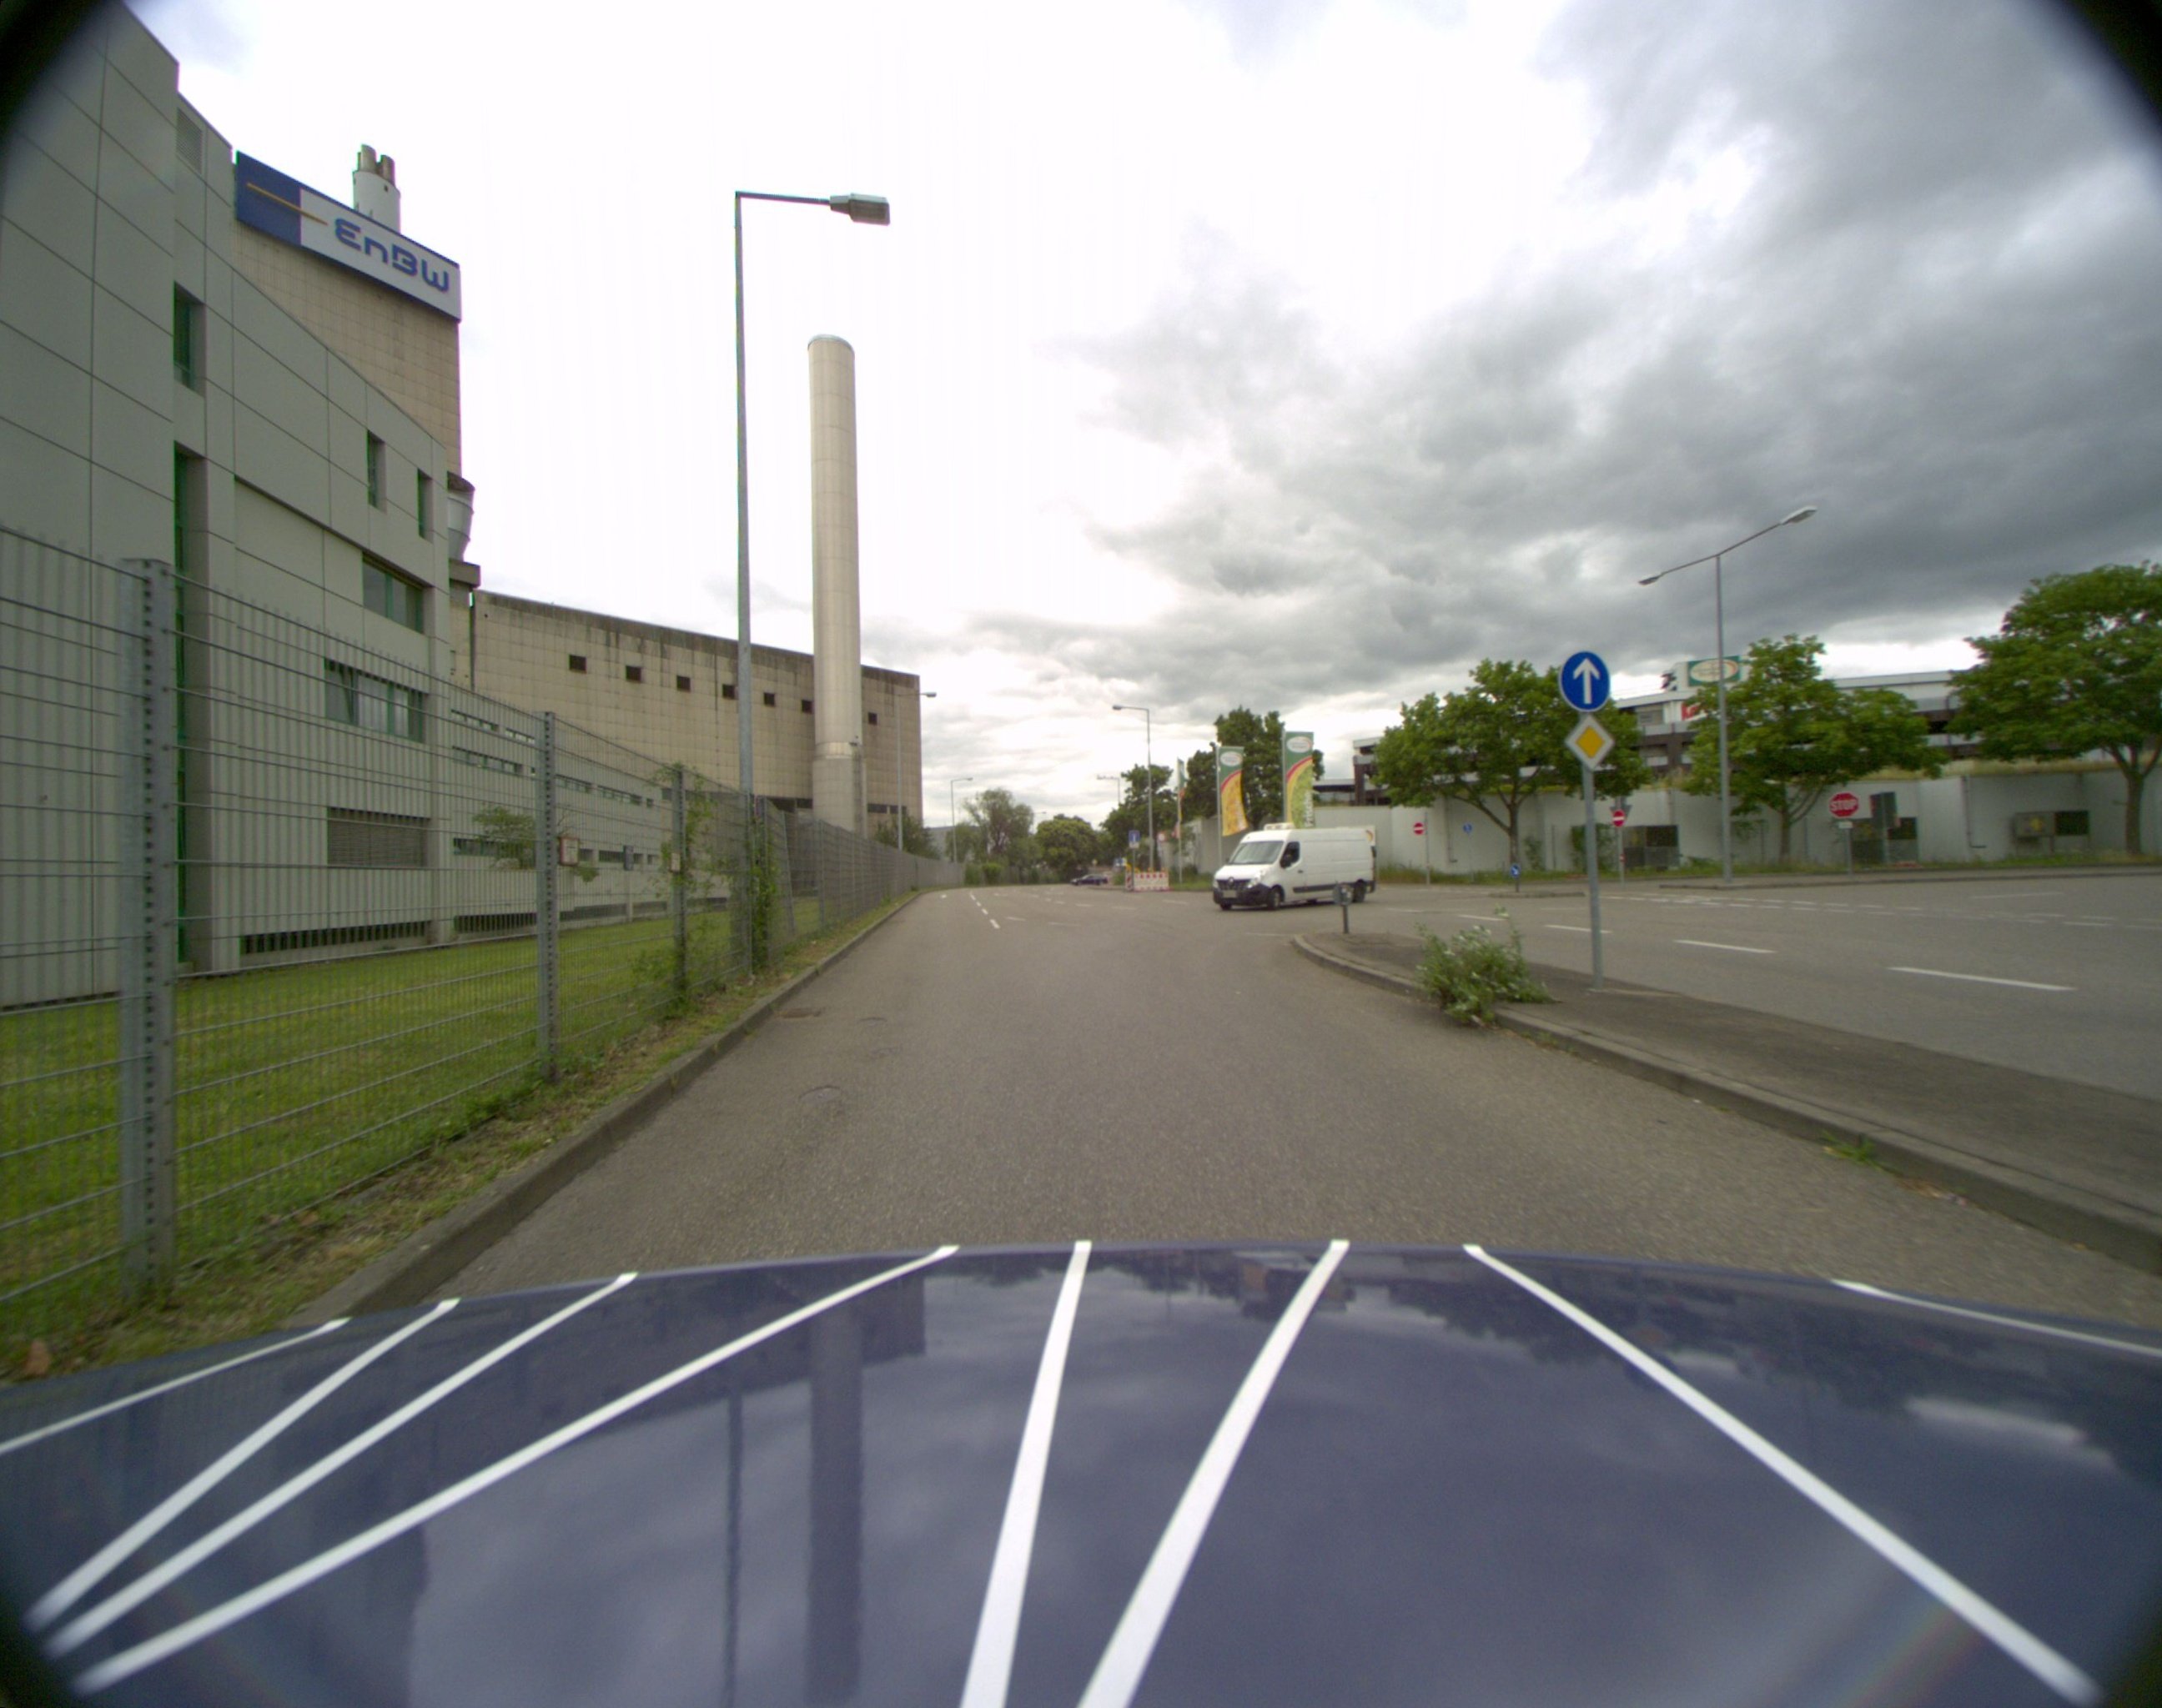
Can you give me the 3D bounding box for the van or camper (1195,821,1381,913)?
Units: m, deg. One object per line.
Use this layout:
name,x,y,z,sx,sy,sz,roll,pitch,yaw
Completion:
van or camper,6.618,0.350,23.854,6.119,2.541,2.267,-2,-2,-37

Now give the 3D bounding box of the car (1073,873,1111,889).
car,1.372,3.440,95.907,4.618,1.799,2.001,-3,-1,2

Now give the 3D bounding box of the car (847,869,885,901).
car,-20.653,3.018,72.920,2.431,2.744,5.446,-2,-3,-27

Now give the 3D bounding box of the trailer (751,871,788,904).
trailer,-26.300,2.834,64.027,2.667,2.528,6.423,-2,-2,-23
